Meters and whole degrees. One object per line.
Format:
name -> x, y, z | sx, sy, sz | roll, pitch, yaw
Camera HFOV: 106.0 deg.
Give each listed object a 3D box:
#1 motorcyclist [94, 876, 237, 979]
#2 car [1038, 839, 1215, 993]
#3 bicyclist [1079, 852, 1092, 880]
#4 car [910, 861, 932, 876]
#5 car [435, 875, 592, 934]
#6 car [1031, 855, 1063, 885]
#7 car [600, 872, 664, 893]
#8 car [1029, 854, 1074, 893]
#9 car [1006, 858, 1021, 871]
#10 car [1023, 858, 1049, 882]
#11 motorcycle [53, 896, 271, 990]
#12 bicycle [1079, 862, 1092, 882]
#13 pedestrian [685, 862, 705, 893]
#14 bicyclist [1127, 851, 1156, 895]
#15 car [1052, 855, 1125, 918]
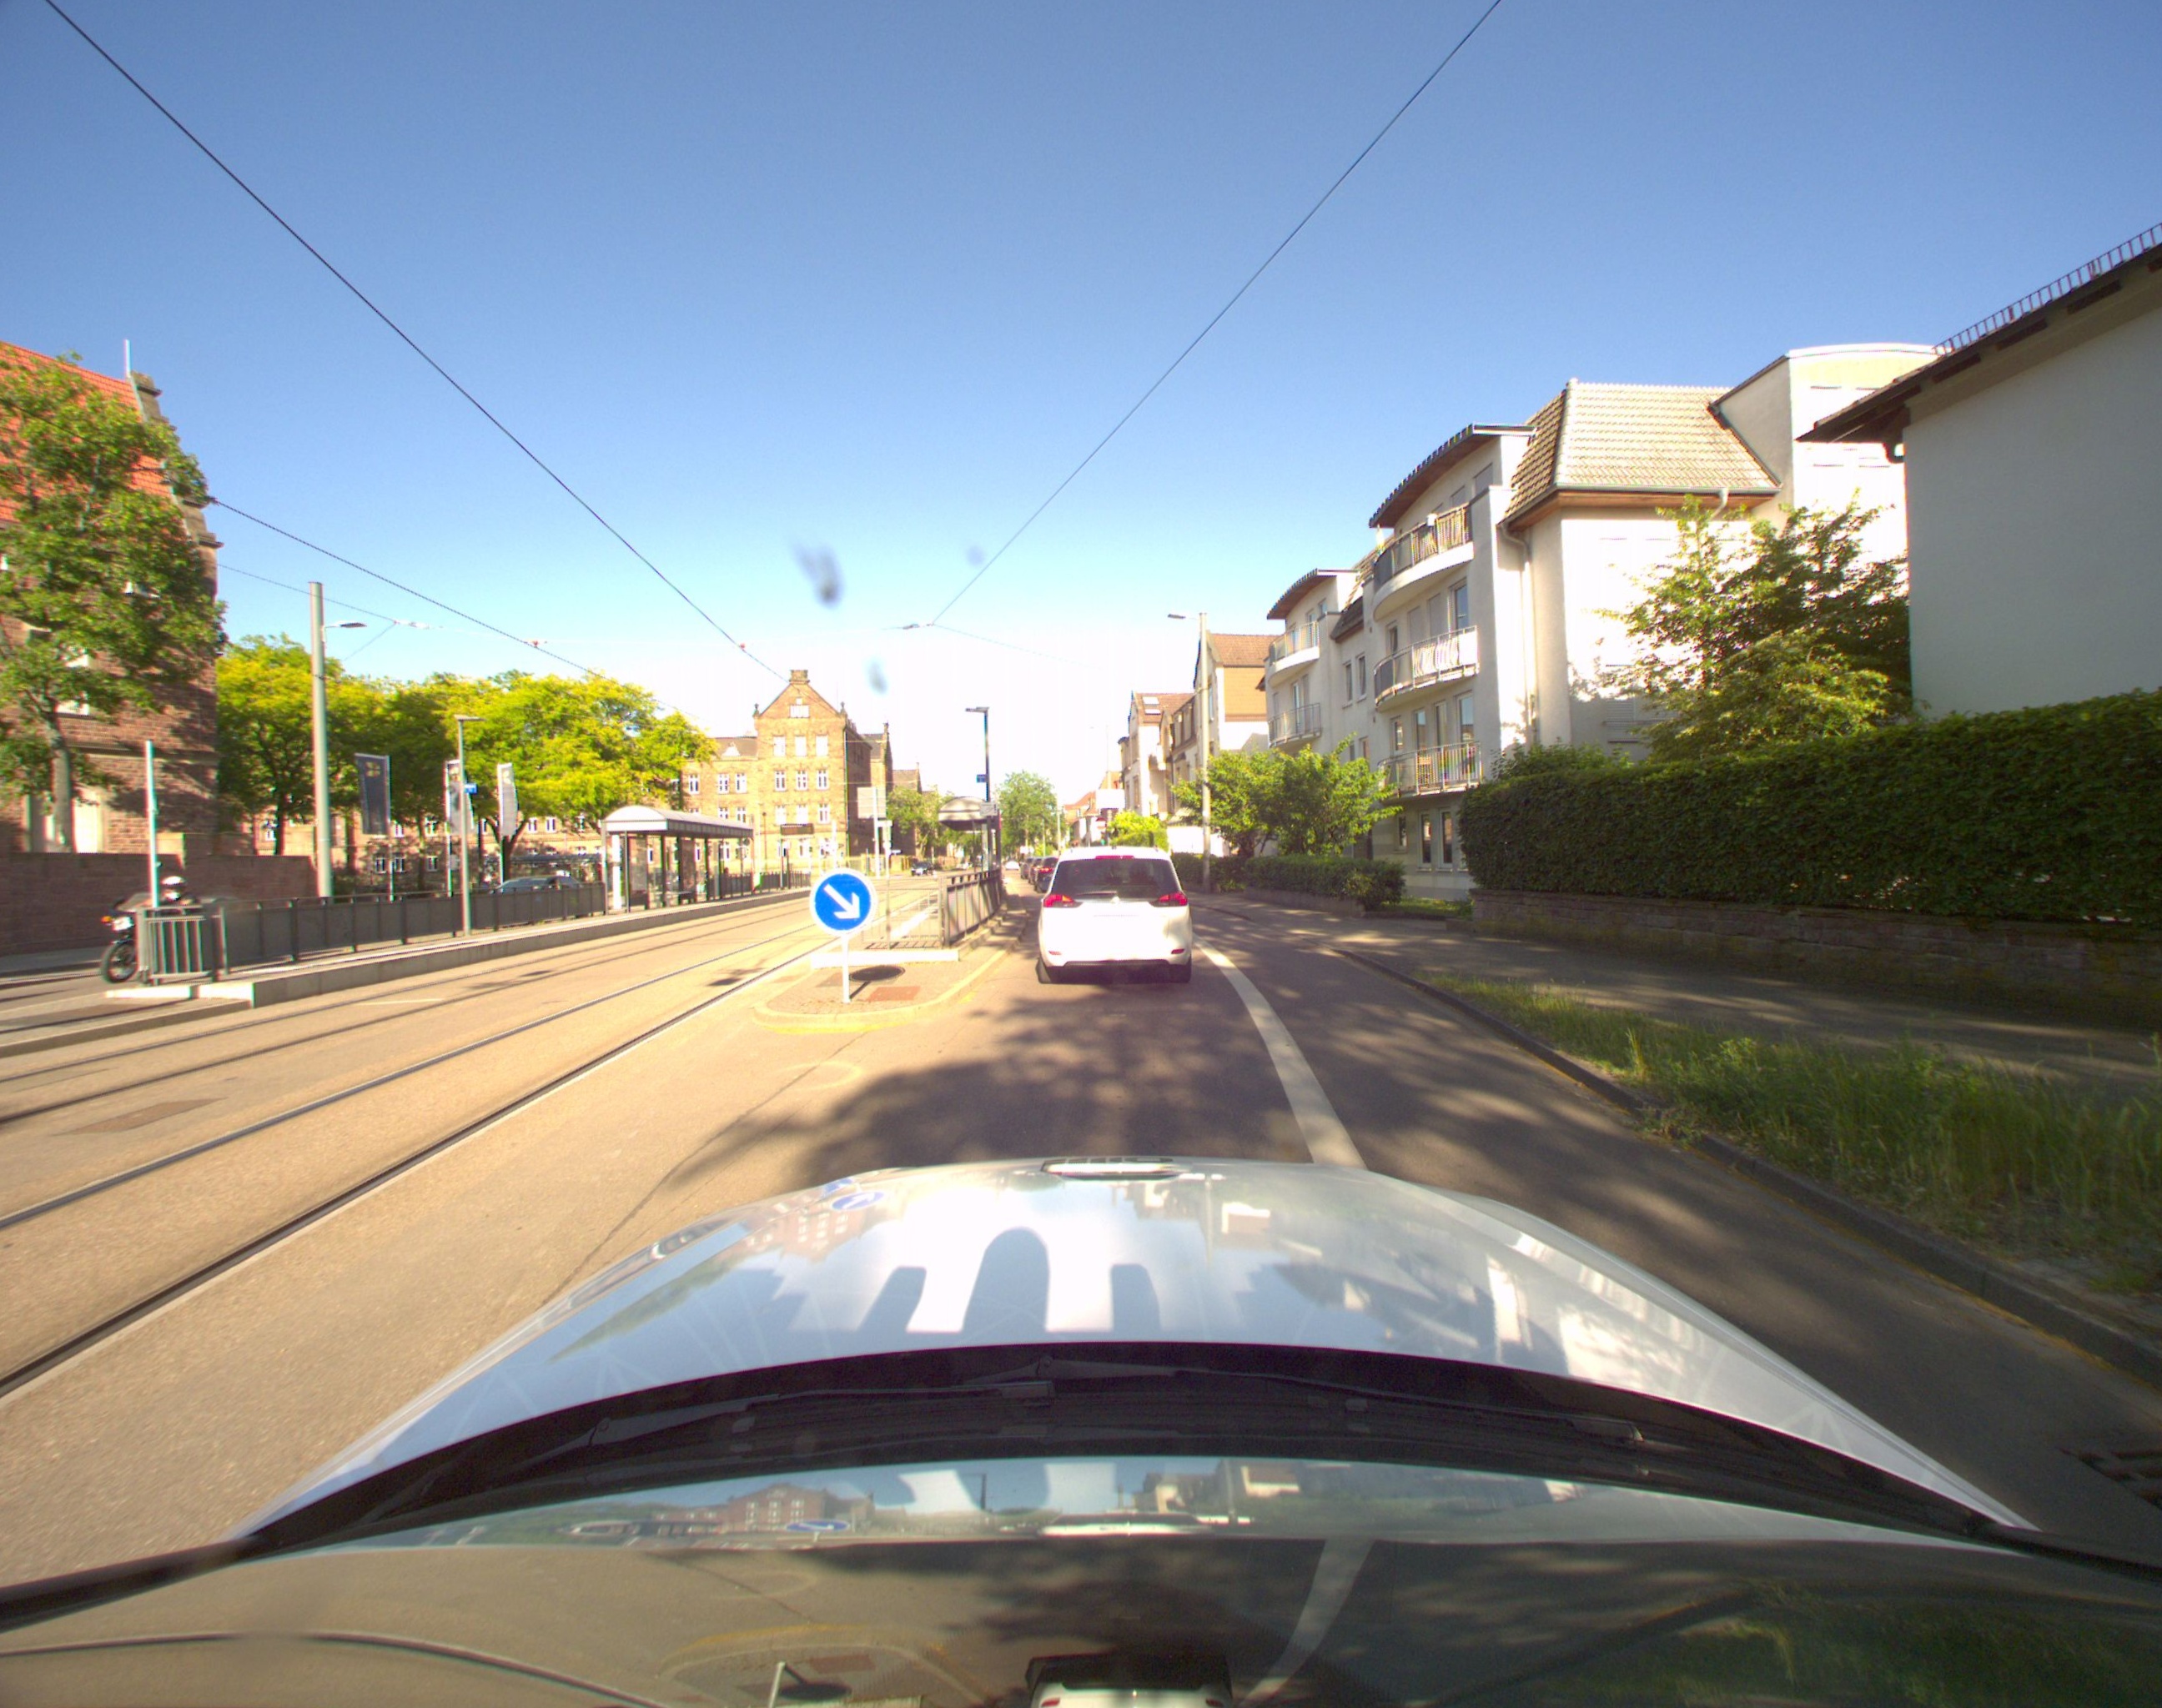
motorcyclist -> -14.711, 1.142, 13.138 | 1.127, 1.525, 1.049 | -1, -1, -16
car -> 0.408, 0.704, 10.965 | 1.832, 1.642, 3.911 | -1, -1, -5
bicyclist -> 0.237, 0.690, 47.989 | 0.684, 1.634, 1.014 | -1, -1, -3
car -> -18.069, 1.615, 92.166 | 1.904, 1.677, 4.349 | -2, 0, -5
car -> -16.637, 1.417, 24.162 | 1.851, 1.403, 3.978 | -6, -1, -3
car -> -1.968, 0.910, 47.881 | 1.771, 1.632, 3.877 | -1, -1, -2
car -> -35.955, 2.300, 65.248 | 4.056, 1.522, 1.875 | -1, -1, -4
car -> -1.364, 0.855, 36.386 | 1.773, 1.632, 3.873 | -1, -1, -5
car -> -8.811, 1.387, 106.517 | 1.772, 1.692, 3.875 | -1, -1, -4
car -> -3.236, 1.120, 58.655 | 1.772, 1.632, 3.875 | -1, -1, -3
motorcycle -> -14.737, 1.367, 13.226 | 1.132, 1.243, 2.559 | -1, -1, -16
bicycle -> 0.255, 1.051, 47.902 | 0.684, 1.157, 1.617 | -1, -1, -3
pedestrian -> -23.942, 1.439, 50.467 | 0.725, 1.861, 1.095 | -1, -1, -3
bicyclist -> 2.132, 0.652, 28.768 | 0.820, 1.501, 0.932 | -1, -1, -6
car -> 0.100, 0.765, 21.178 | 1.583, 1.420, 3.895 | -2, 0, -4
